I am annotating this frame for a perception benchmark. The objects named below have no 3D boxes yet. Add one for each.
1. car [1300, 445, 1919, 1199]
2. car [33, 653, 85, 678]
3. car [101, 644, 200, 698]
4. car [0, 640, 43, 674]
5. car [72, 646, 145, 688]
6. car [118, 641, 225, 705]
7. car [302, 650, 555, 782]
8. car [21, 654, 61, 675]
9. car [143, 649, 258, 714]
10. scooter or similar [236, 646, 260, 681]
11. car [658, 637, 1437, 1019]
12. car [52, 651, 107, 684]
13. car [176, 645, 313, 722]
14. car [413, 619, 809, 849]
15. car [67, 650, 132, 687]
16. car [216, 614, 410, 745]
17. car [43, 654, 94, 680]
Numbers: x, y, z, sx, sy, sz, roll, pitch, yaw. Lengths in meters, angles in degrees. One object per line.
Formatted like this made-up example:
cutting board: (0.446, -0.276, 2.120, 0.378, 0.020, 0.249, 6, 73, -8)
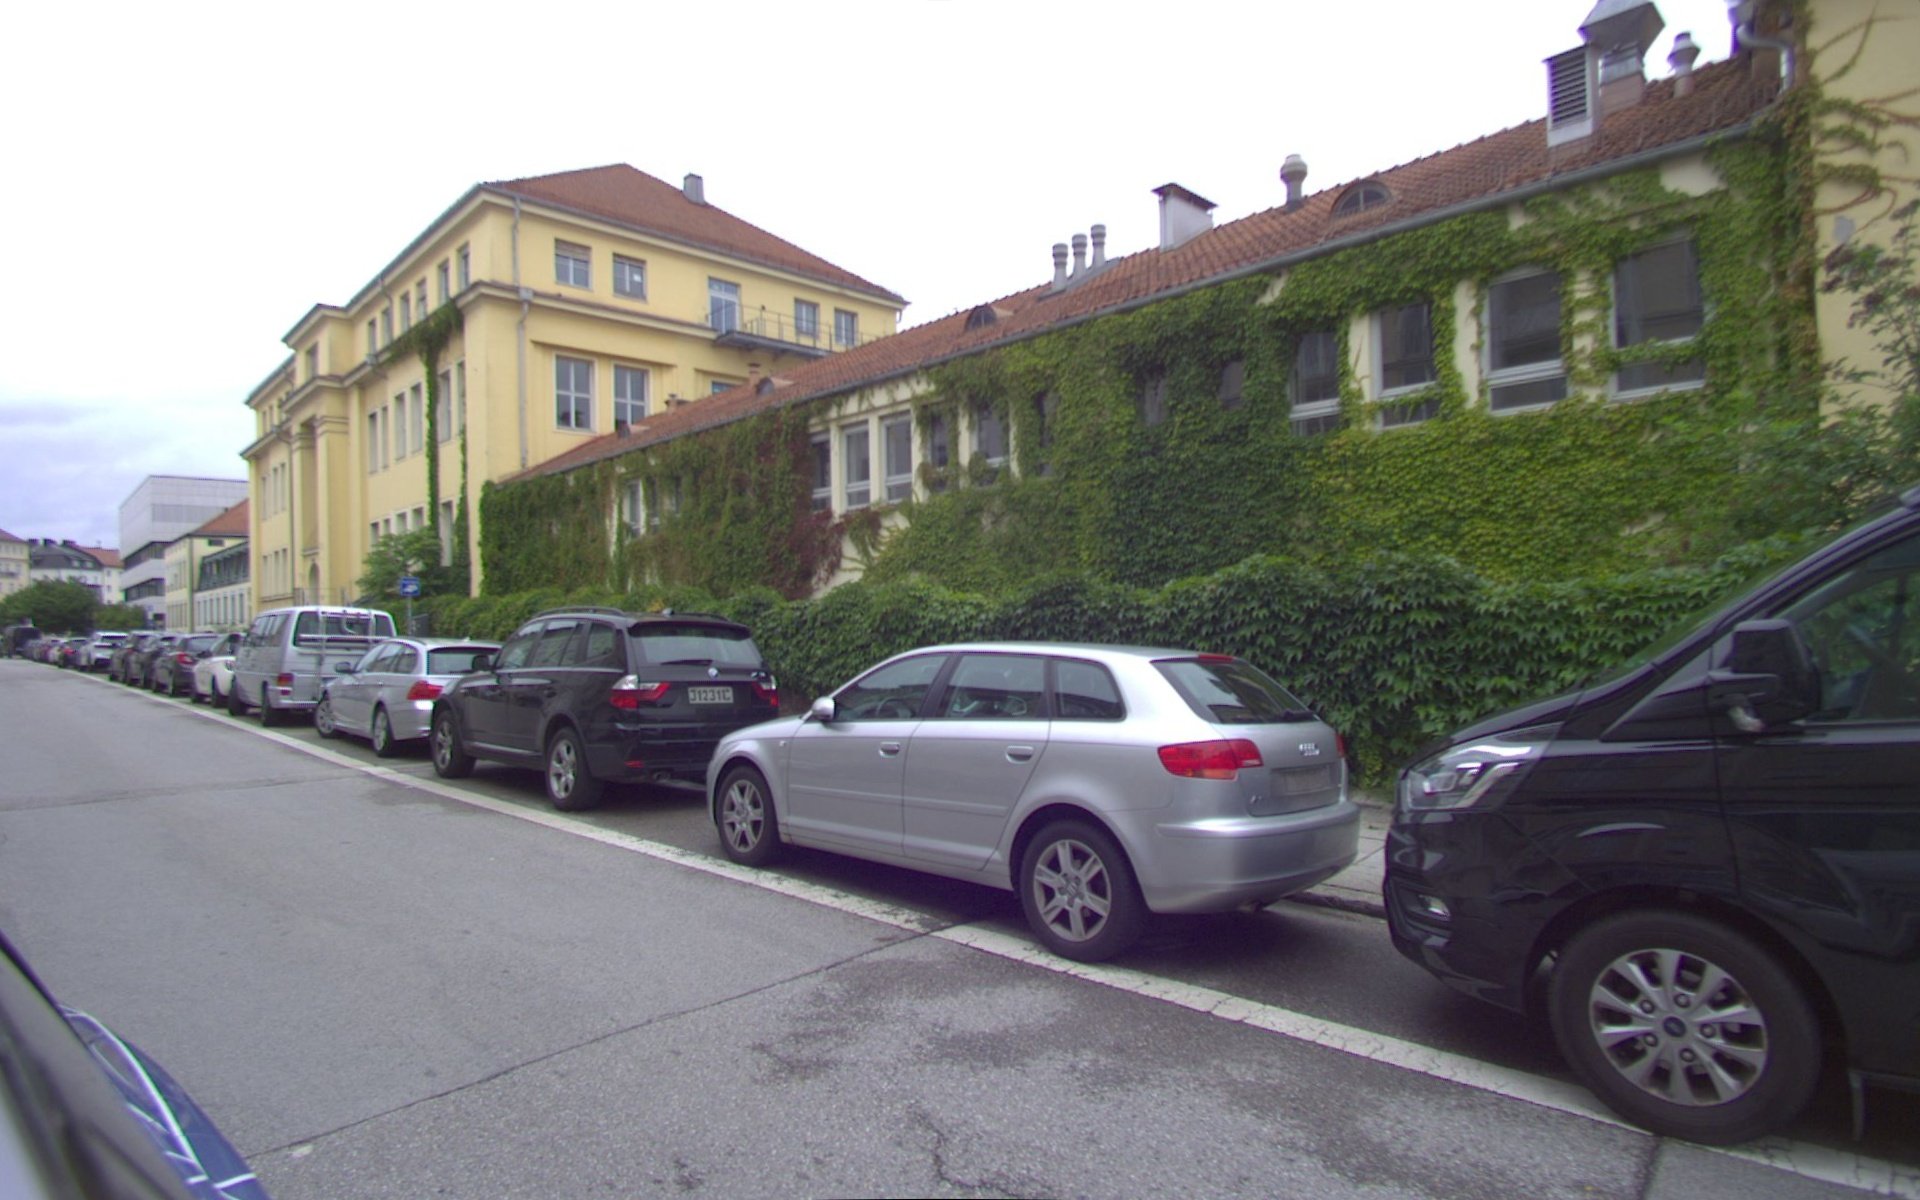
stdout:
car: (3.908, 0.603, 2.659, 5.345, 1.979, 2.052, -2, -3, 40)
car: (-55.171, 3.972, 61.931, 4.529, 1.493, 1.936, -3, -4, 43)
car: (-25.548, 2.200, 31.886, 4.819, 1.599, 1.769, -3, -5, 44)
car: (-81.247, 4.897, 87.192, 6.187, 2.876, 2.192, -3, -4, 38)
car: (-35.066, 2.723, 41.635, 4.856, 1.646, 1.726, -3, -3, 43)
car: (-22.170, 2.005, 28.397, 4.467, 1.642, 1.705, -3, -4, 44)
car: (-7.117, 1.383, 13.280, 1.634, 1.425, 4.774, 4, -5, -44)
car: (-72.746, 5.113, 80.060, 4.351, 1.599, 1.892, -4, -6, 43)
car: (-18.629, 1.938, 24.756, 4.253, 1.441, 1.585, -3, -5, 45)
scooter or similar: (-29.184, 2.593, 41.469, 0.553, 1.380, 1.502, 1, -3, -44)
car: (0.151, 0.982, 5.948, 4.502, 1.404, 1.675, -3, -6, 44)
car: (-42.327, 3.236, 48.616, 1.679, 1.508, 4.151, 5, -6, -44)
car: (-14.922, 1.668, 21.038, 4.020, 1.452, 1.573, -3, -4, 44)
car: (-3.464, 1.080, 9.522, 4.492, 1.655, 1.678, -3, -5, 45)
car: (-38.488, 3.034, 45.229, 4.496, 1.514, 1.684, -3, -7, 44)
car: (-11.078, 1.280, 17.177, 1.864, 1.904, 4.778, 4, -4, -43)
car: (-51.092, 3.819, 57.960, 4.666, 1.440, 1.774, -3, -5, 44)
